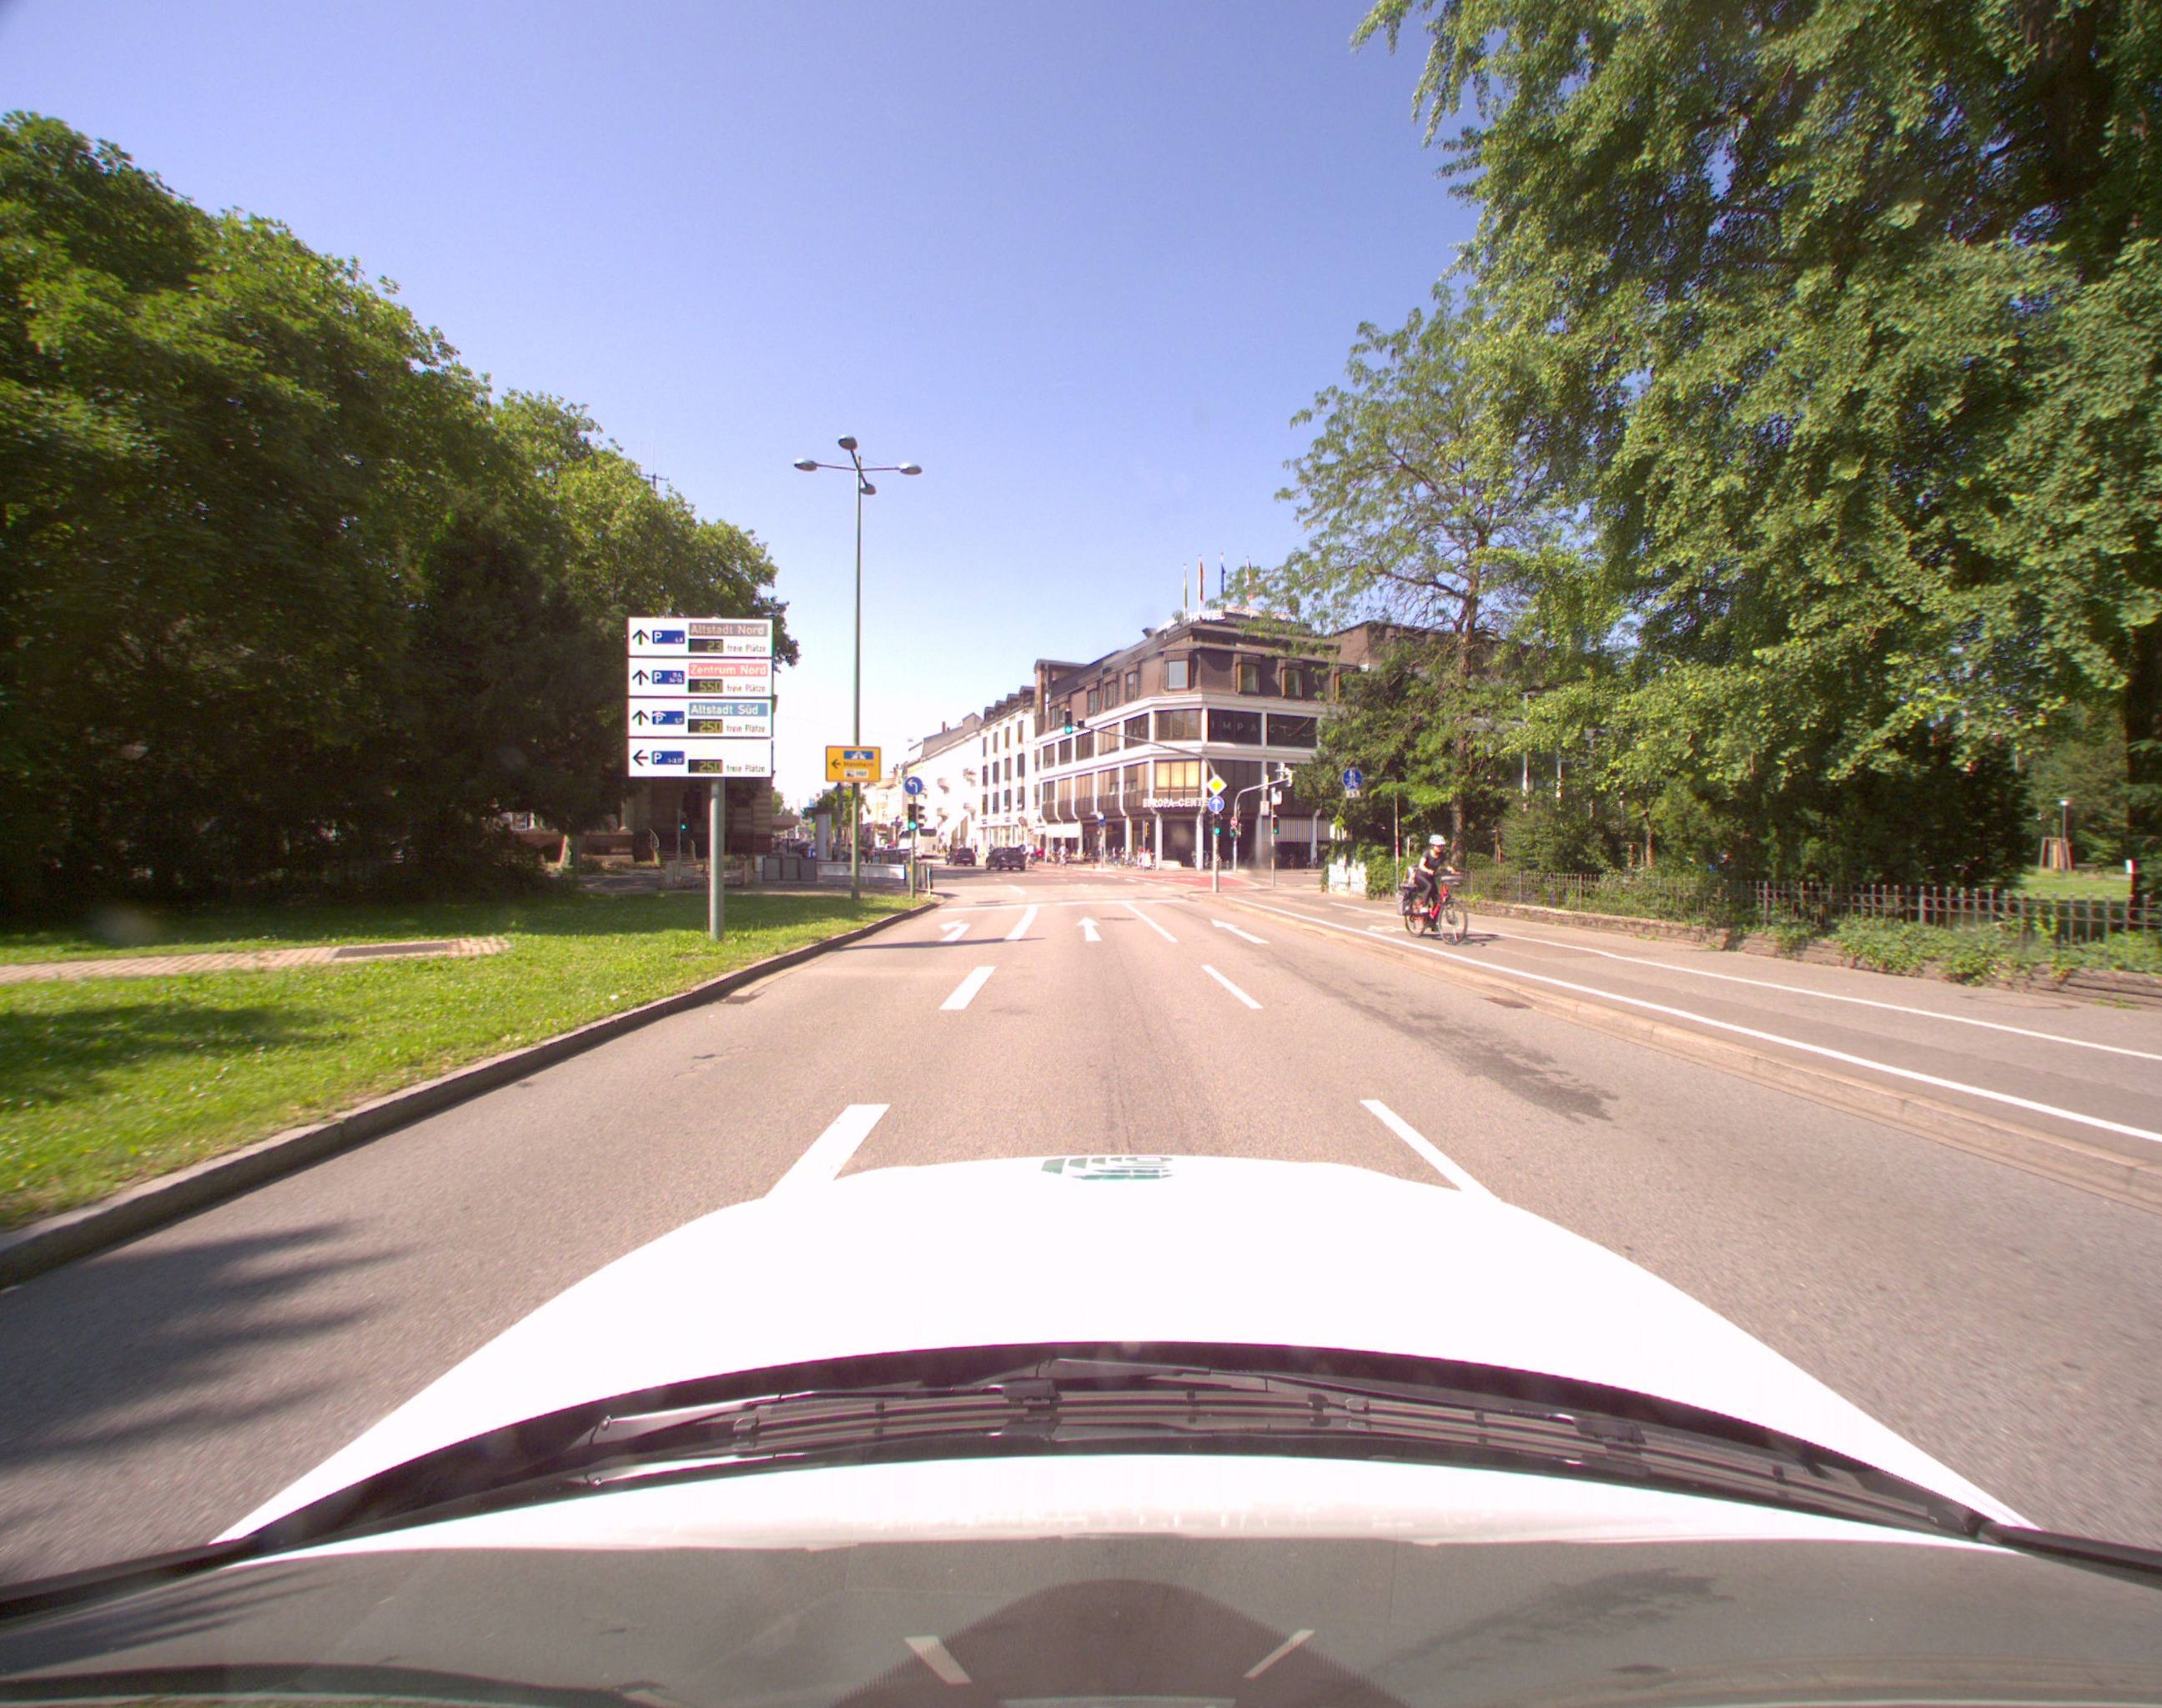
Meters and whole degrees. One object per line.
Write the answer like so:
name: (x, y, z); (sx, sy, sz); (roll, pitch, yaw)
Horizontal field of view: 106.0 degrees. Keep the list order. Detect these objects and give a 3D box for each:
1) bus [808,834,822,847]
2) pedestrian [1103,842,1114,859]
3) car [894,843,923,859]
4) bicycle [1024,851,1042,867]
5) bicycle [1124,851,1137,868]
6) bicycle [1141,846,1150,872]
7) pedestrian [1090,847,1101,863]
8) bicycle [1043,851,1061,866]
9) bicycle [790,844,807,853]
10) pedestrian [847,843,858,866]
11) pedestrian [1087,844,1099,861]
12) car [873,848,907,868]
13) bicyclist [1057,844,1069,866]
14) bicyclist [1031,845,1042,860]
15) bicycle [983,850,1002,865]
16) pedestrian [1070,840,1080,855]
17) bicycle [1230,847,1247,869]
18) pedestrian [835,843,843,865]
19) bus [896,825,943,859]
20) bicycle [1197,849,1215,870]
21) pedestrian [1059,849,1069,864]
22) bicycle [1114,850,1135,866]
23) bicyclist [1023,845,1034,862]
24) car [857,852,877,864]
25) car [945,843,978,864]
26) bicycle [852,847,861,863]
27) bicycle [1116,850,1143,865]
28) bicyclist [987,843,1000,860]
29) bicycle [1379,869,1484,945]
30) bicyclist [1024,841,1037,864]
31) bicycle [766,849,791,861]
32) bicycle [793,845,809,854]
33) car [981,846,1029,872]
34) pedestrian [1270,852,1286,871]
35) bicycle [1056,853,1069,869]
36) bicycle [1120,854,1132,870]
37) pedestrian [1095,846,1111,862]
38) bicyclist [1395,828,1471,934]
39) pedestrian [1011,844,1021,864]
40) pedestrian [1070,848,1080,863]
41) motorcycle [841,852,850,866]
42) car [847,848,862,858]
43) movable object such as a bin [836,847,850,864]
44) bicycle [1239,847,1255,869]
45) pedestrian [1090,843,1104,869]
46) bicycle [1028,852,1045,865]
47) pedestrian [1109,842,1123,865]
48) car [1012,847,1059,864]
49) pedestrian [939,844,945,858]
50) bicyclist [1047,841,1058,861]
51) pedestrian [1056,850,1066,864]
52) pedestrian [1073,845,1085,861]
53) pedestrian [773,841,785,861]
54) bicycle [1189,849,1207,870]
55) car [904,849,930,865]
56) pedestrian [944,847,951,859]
bus: (-75.128, -3.774, 229.949); (2.784, 3.604, 8.900); (-1, 1, -25)
pedestrian: (2.277, -0.267, 67.816); (0.714, 1.396, 0.691); (0, -1, -23)
car: (-15.362, -0.276, 72.527); (1.870, 1.441, 3.971); (0, 1, -22)
bicycle: (-3.656, 0.389, 61.845); (0.667, 1.120, 2.227); (2, 1, -22)
bicycle: (3.572, 0.384, 58.805); (0.277, 1.120, 2.233); (0, 1, -14)
bicycle: (4.384, 0.351, 55.358); (0.373, 1.483, 1.061); (-4, -16, 17)
pedestrian: (1.245, 0.098, 69.640); (0.714, 1.396, 0.691); (0, -1, -23)
bicycle: (-2.232, 0.360, 63.000); (0.622, 1.099, 2.336); (0, 0, -21)
bicycle: (-40.238, -0.775, 116.121); (2.081, 1.219, 0.751); (3, -1, -38)
pedestrian: (-16.827, 0.027, 59.948); (0.697, 1.695, 0.686); (0, -1, -20)
pedestrian: (1.057, -0.133, 70.475); (0.817, 1.396, 0.691); (0, -1, -24)
car: (-14.153, 0.267, 60.307); (1.943, 1.354, 4.220); (-1, 1, -21)
bicyclist: (-1.297, 0.063, 59.646); (0.695, 1.625, 0.831); (-1, 0, -15)
bicyclist: (-3.743, -0.124, 68.387); (0.623, 1.296, 0.860); (0, 0, -24)
bicycle: (-8.436, 0.334, 77.833); (0.982, 1.386, 2.979); (0, 0, -23)
pedestrian: (-0.565, -0.627, 75.042); (0.747, 1.367, 0.580); (-4, 2, -23)
bicycle: (10.796, 0.257, 55.780); (0.524, 1.422, 1.979); (0, 2, 29)
pedestrian: (-17.863, 0.004, 60.130); (0.549, 1.665, 0.932); (0, -1, -13)
bus: (-19.303, -1.428, 96.427); (2.894, 3.742, 12.332); (2, 0, -23)
bicycle: (8.367, 0.341, 54.478); (0.524, 1.316, 1.871); (0, 2, 29)
pedestrian: (-1.450, 0.200, 69.047); (0.712, 1.217, 0.693); (0, -1, -14)
bicycle: (3.250, 0.305, 60.935); (1.548, 1.207, 0.276); (0, 1, -16)
bicyclist: (-4.266, -0.021, 65.647); (0.623, 1.355, 0.840); (0, 0, -24)
car: (-26.639, 0.483, 101.293); (1.871, 1.441, 3.970); (0, -1, -23)
car: (-9.634, -0.019, 65.352); (1.840, 1.527, 3.972); (-2, 0, -21)
bicycle: (-16.658, 0.104, 60.382); (0.429, 1.120, 2.234); (2, -1, -11)
bicycle: (3.657, 0.281, 61.820); (2.249, 1.120, 0.275); (0, 1, -30)
bicyclist: (-8.401, -0.268, 77.830); (0.986, 1.599, 1.047); (1, 0, -22)
bicycle: (5.642, 0.811, 13.242); (0.756, 1.120, 1.999); (-1, -1, -3)
bicyclist: (-3.823, -0.118, 62.084); (0.697, 1.673, 0.909); (2, 1, -21)
bicycle: (-26.589, 0.112, 71.648); (2.019, 1.062, 0.489); (0, 0, -9)
bicycle: (-38.808, -0.659, 112.785); (2.073, 1.130, 0.613); (2, -1, -22)
car: (-4.964, 0.343, 52.738); (1.842, 1.527, 3.968); (-3, 1, -24)
pedestrian: (14.147, 0.499, 58.553); (0.818, 1.334, 0.978); (0, 1, 32)
bicycle: (-1.382, 0.484, 59.944); (0.595, 1.120, 1.792); (0, 1, -14)
bicycle: (3.225, 0.558, 58.575); (0.277, 1.120, 2.233); (0, 1, -14)
pedestrian: (1.846, -0.019, 68.663); (0.900, 1.351, 1.097); (0, -1, -23)
bicyclist: (5.662, 0.420, 13.130); (0.762, 1.636, 0.942); (-1, -1, -4)
pedestrian: (-5.731, -0.004, 71.486); (0.622, 1.719, 0.829); (1, 0, -21)
pedestrian: (-0.538, 0.125, 74.474); (0.764, 1.367, 0.474); (0, 0, -24)
motorcycle: (-17.443, 0.354, 60.282); (0.454, 0.998, 2.151); (2, 0, -12)
car: (-36.391, -0.183, 130.893); (1.871, 1.441, 3.970); (-1, 1, -23)
movable object such as a bin: (-21.823, 0.104, 74.667); (1.126, 1.450, 1.431); (2, 1, -16)
bicycle: (11.342, 0.259, 55.552); (0.524, 1.422, 1.979); (0, 2, 29)
pedestrian: (1.132, 0.159, 57.690); (0.834, 1.835, 0.693); (0, -1, -14)
bicycle: (-3.738, 0.350, 68.360); (0.623, 1.099, 2.334); (0, 0, -23)
pedestrian: (2.552, -0.007, 59.511); (0.834, 1.663, 0.693); (0, -1, -14)
car: (-4.334, 0.122, 76.733); (4.059, 1.495, 1.829); (-1, -1, -21)
pedestrian: (-18.037, -0.346, 105.579); (0.575, 1.778, 1.013); (-1, 0, -19)
bicyclist: (-2.192, -0.235, 62.882); (0.622, 1.529, 0.863); (0, 0, -21)
pedestrian: (-1.738, 0.232, 69.848); (0.712, 1.173, 0.693); (0, -1, -14)
pedestrian: (-0.169, -0.124, 74.132); (0.880, 1.368, 0.533); (5, -2, -24)
pedestrian: (-26.704, -0.234, 71.936); (0.783, 1.773, 0.999); (0, 0, -8)
bicycle: (7.883, 0.350, 54.679); (0.524, 1.316, 1.979); (0, 2, 29)
car: (-16.894, 0.307, 83.845); (1.841, 1.527, 3.970); (-2, 0, -22)
pedestrian: (-17.533, -0.132, 106.953); (0.647, 1.617, 0.816); (0, -1, -20)
